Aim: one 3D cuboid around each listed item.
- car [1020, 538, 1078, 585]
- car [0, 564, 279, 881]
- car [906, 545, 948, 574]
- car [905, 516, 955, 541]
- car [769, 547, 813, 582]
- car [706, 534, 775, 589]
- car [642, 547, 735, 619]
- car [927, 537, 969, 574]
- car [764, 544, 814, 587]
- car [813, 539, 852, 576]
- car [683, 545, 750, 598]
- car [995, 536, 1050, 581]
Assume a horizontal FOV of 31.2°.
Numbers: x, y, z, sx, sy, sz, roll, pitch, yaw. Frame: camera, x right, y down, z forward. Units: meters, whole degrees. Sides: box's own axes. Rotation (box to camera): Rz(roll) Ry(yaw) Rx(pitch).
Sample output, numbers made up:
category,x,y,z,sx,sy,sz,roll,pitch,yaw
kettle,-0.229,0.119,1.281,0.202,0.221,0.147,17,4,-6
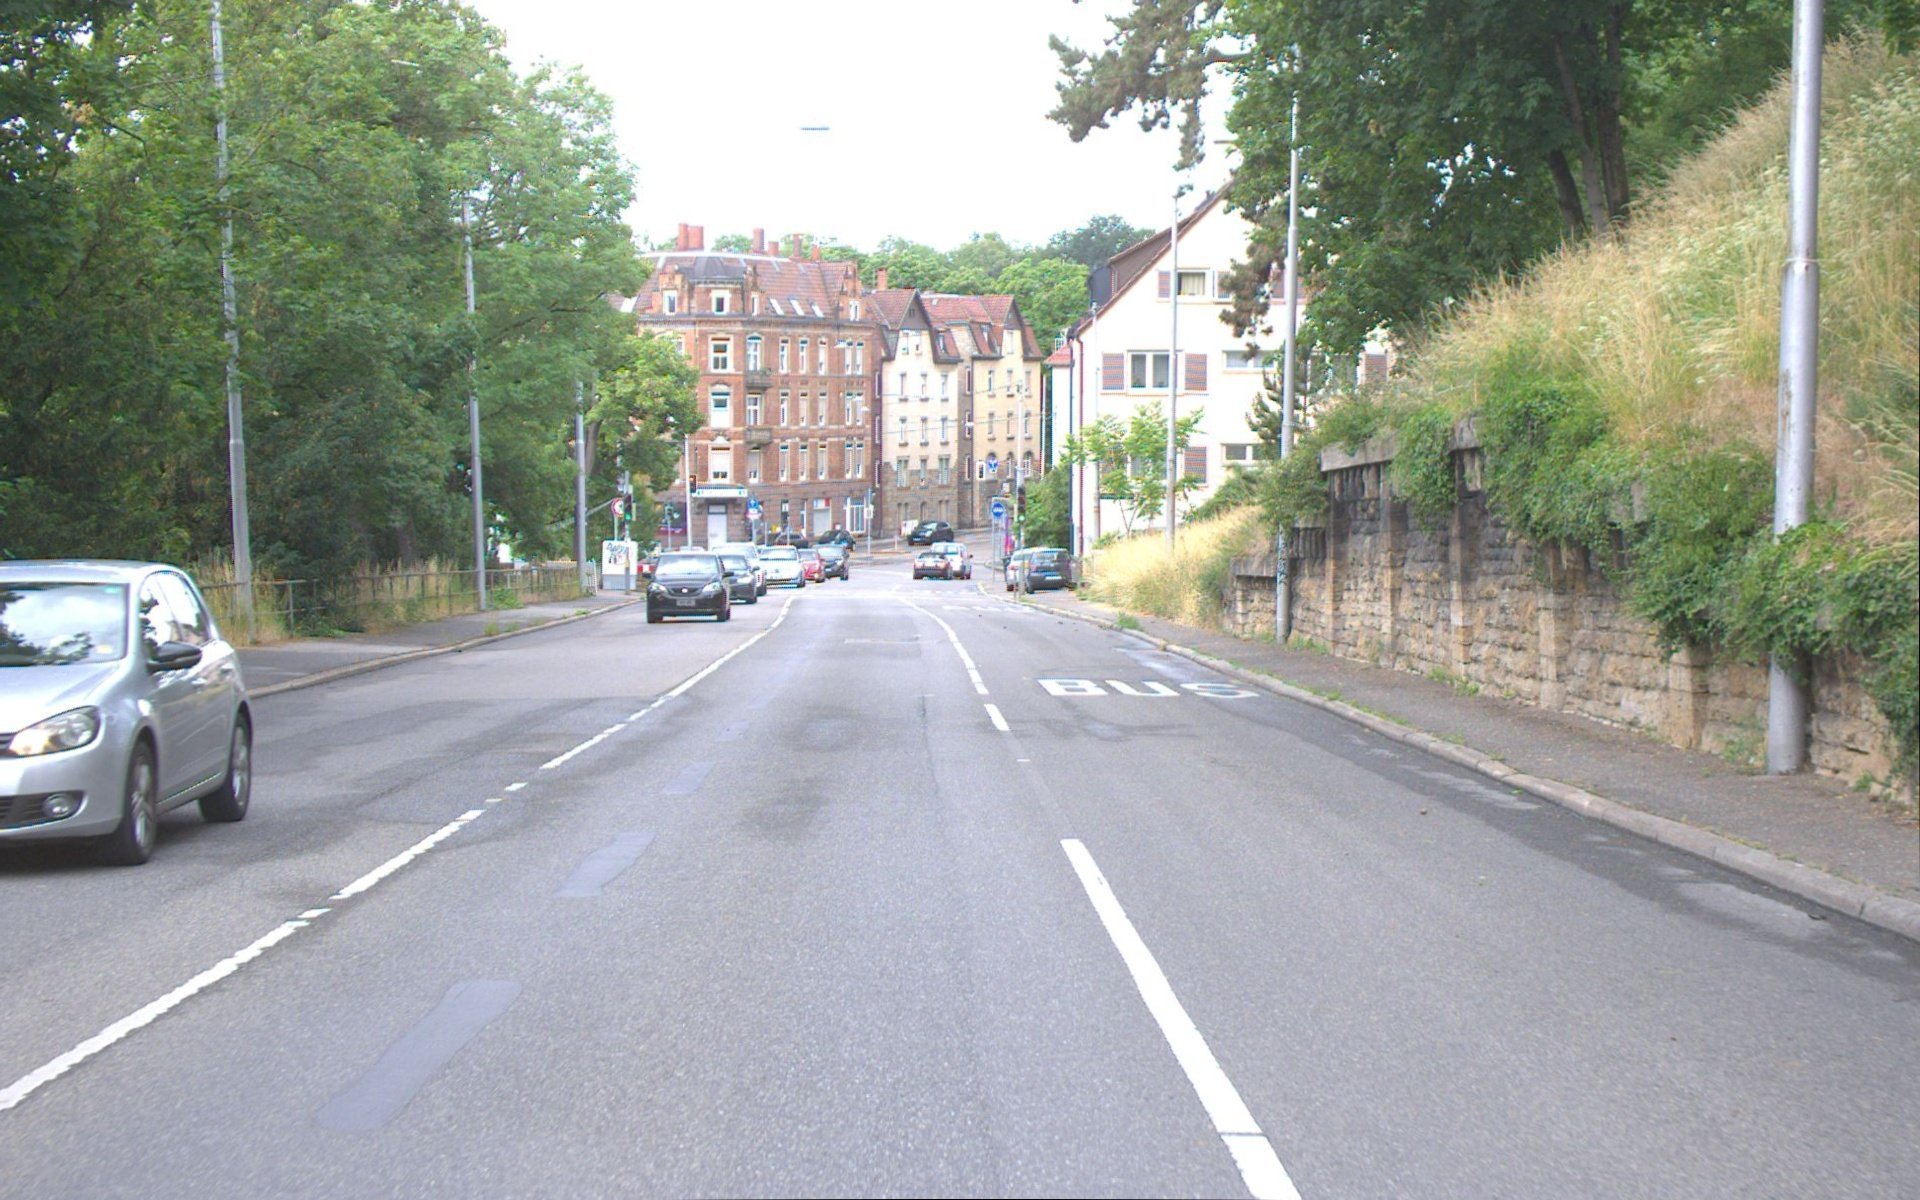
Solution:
category,x,y,z,sx,sy,sz,roll,pitch,yaw
car,2.939,-1.271,114.312,1.681,1.446,4.000,-4,0,-1
car,-4.804,0.550,17.737,1.794,1.422,4.143,-1,1,-1
car,-1.672,-2.065,174.580,1.816,1.425,4.000,1,1,3
car,-2.032,-4.893,234.767,1.984,1.569,4.371,-2,1,20
car,-7.222,-1.520,147.553,1.783,1.454,4.429,-1,1,-2
car,-7.079,-1.262,111.112,1.995,1.677,4.664,-1,1,-1
car,-5.616,-0.370,71.467,1.669,1.442,3.688,-1,1,-1
car,-0.613,-2.353,181.444,1.909,1.877,4.000,1,1,3
car,-6.485,-1.329,130.363,1.783,1.569,4.281,-1,1,-2
car,-6.150,-2.074,166.724,1.783,1.740,4.429,-1,1,-1
car,-6.746,-0.814,95.651,1.712,1.422,4.139,-1,1,-2
car,2.263,-1.494,123.381,1.794,1.446,4.718,-3,1,2
